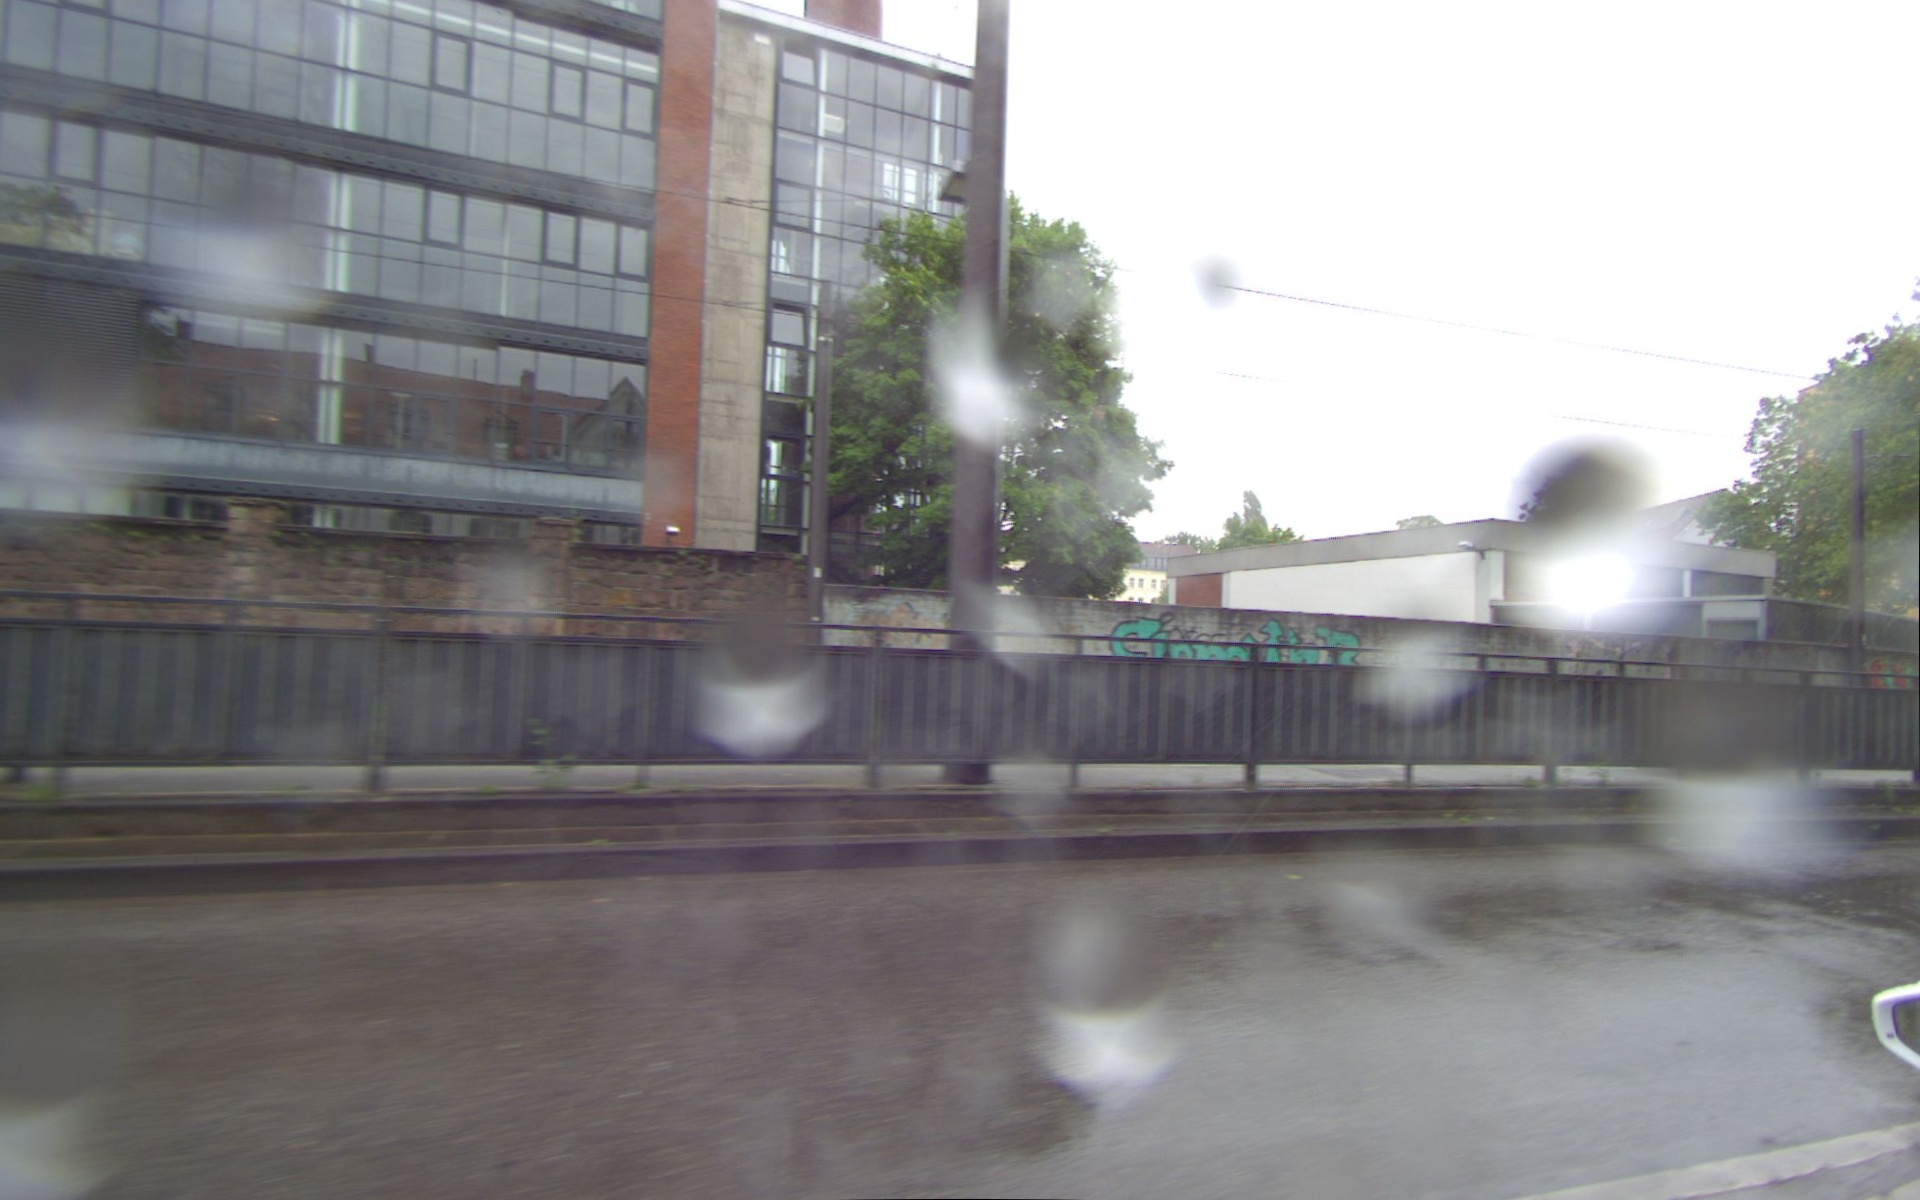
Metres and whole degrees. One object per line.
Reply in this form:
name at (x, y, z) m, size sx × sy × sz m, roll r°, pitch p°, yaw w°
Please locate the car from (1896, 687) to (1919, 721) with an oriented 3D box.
car at (49.033, 5.221, 49.919) m, size 1.690 × 1.660 × 3.797 m, roll 2°, pitch -4°, yaw 5°
